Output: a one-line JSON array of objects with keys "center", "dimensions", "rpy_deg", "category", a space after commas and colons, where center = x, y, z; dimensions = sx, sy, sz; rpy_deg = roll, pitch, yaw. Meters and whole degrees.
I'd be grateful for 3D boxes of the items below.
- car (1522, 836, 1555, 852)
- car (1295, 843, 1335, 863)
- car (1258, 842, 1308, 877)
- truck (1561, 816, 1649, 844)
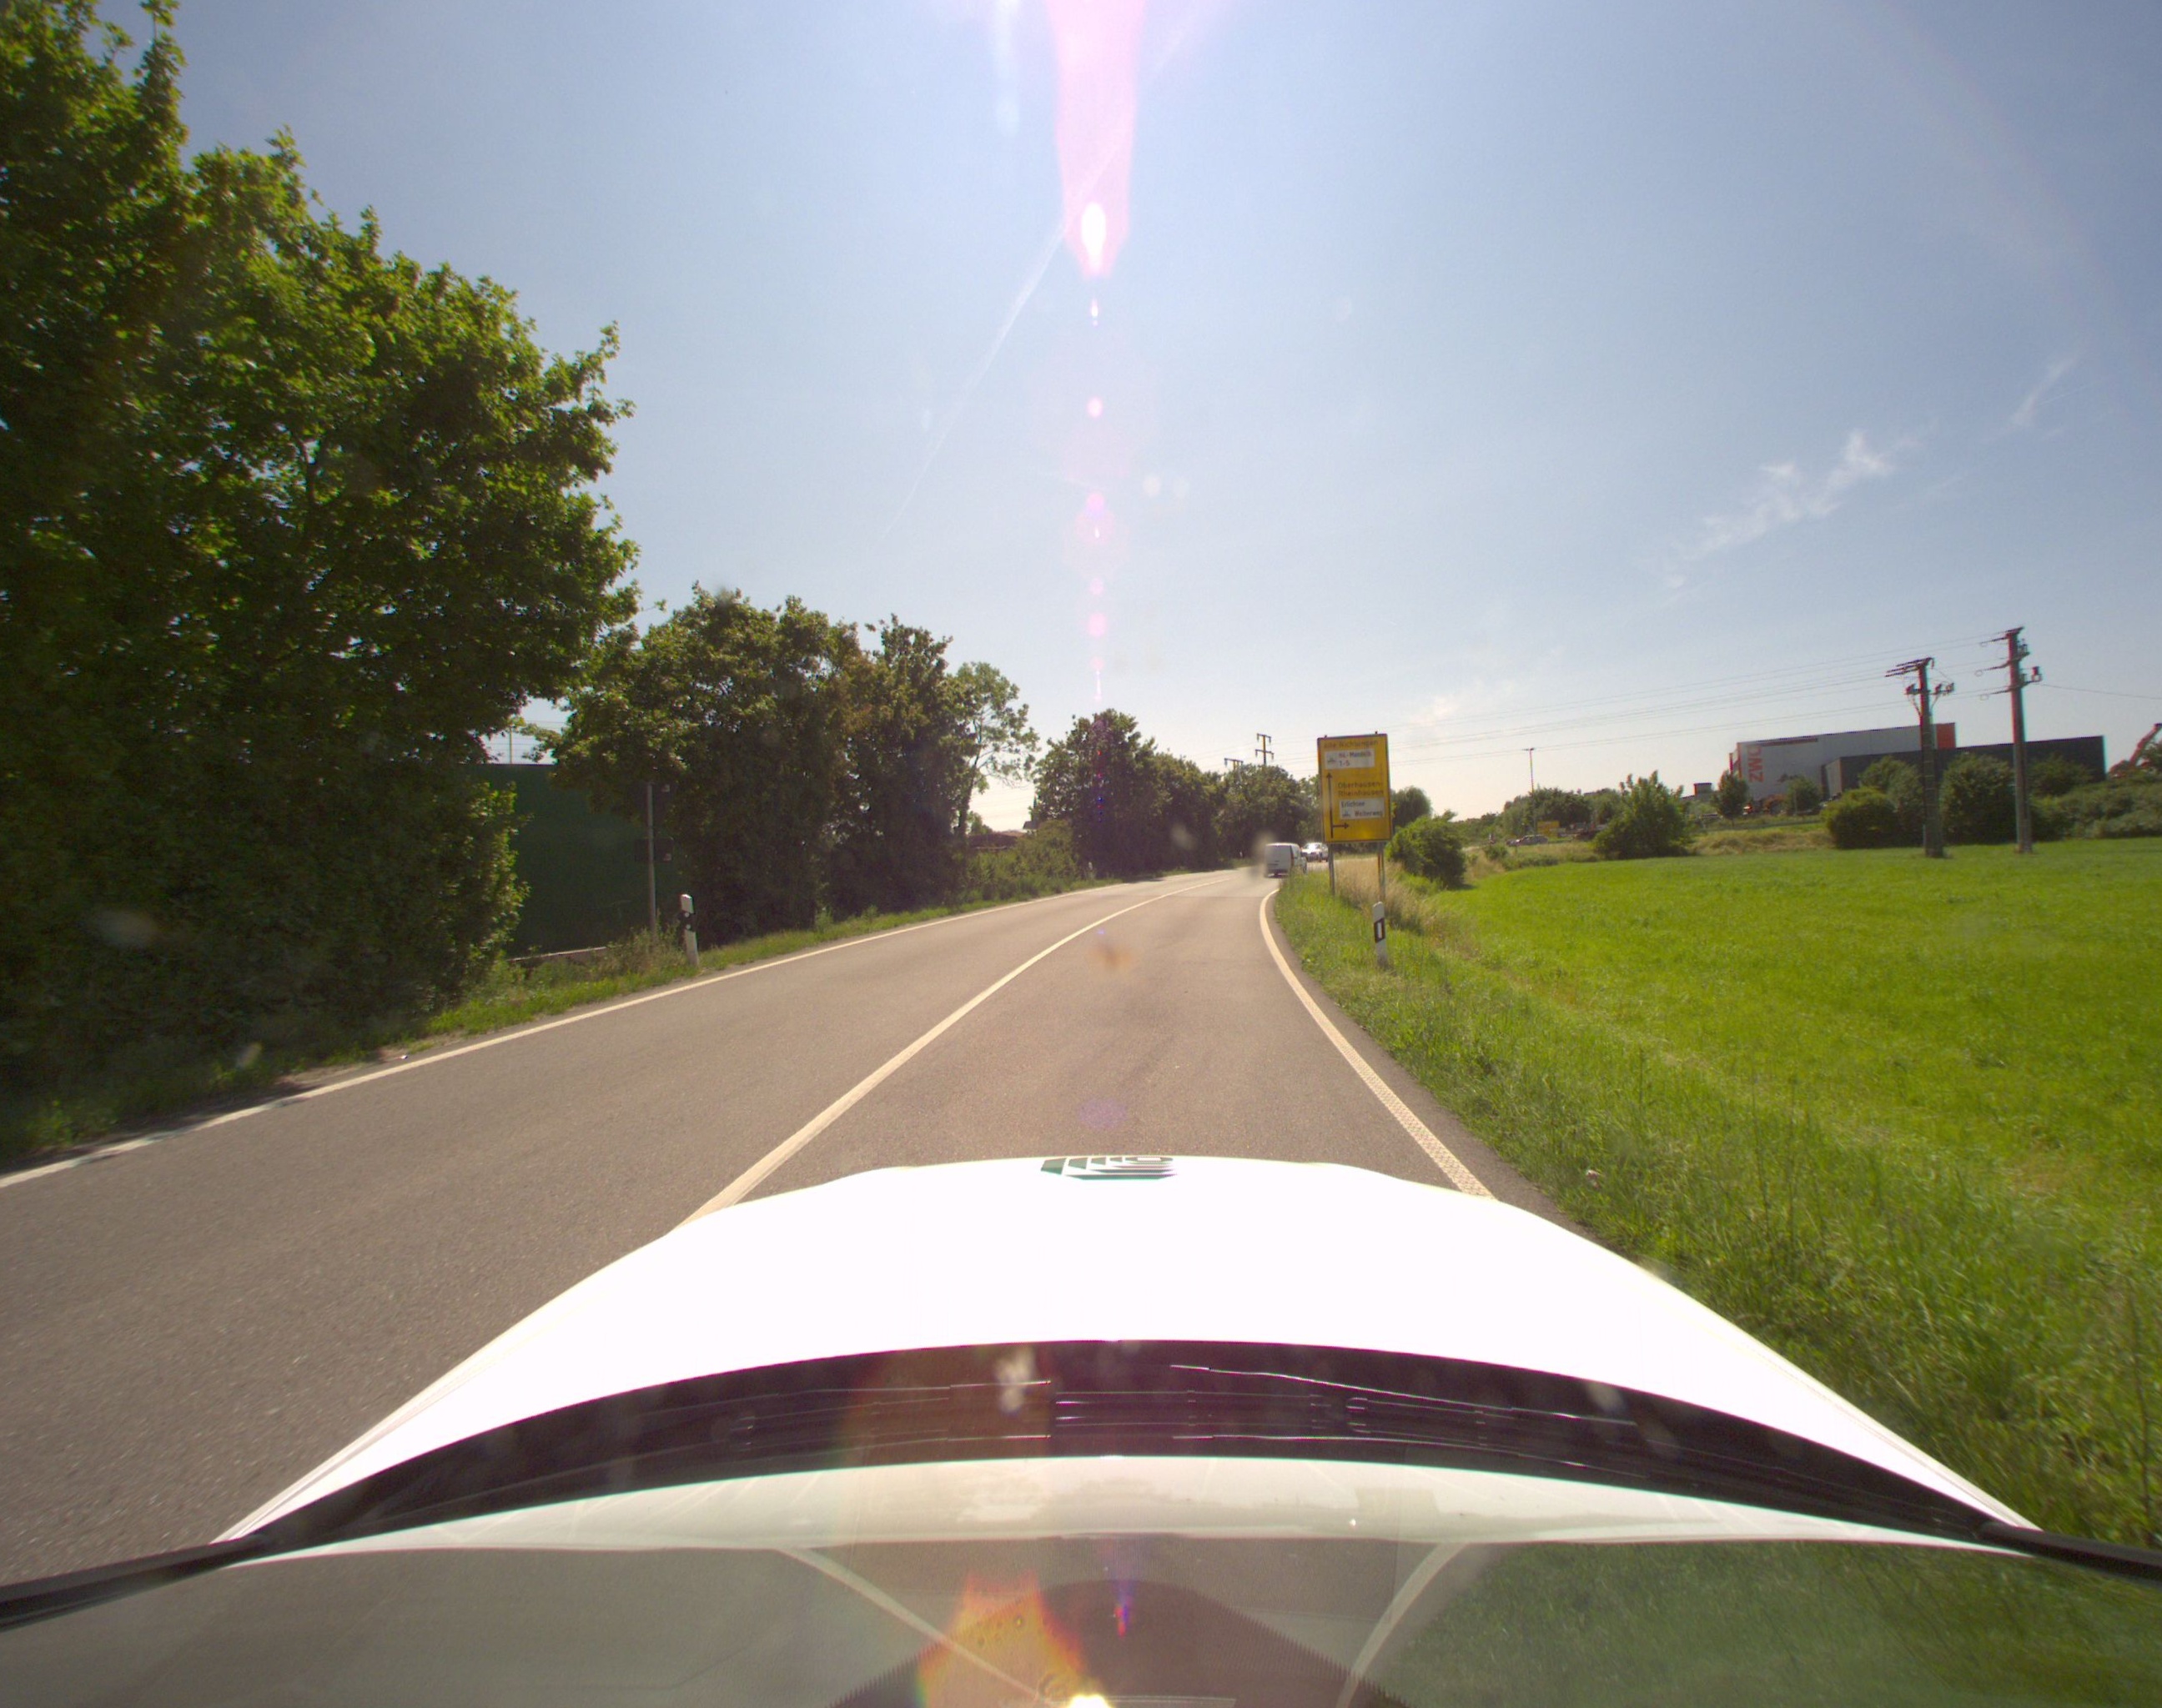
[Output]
[{"center": [63.344, -1.394, 112.762], "dimensions": [3.948, 2.014, 2.012], "rpy_deg": [-1, -2, 31], "category": "car"}, {"center": [19.668, -0.096, 68.402], "dimensions": [1.837, 1.601, 4.808], "rpy_deg": [0, 1, 33], "category": "car"}, {"center": [10.850, 0.295, 43.626], "dimensions": [1.886, 1.732, 3.844], "rpy_deg": [-3, -1, 23], "category": "car"}, {"center": [62.274, -2.836, 96.850], "dimensions": [8.758, 3.137, 3.103], "rpy_deg": [0, -1, -5], "category": "truck"}]
